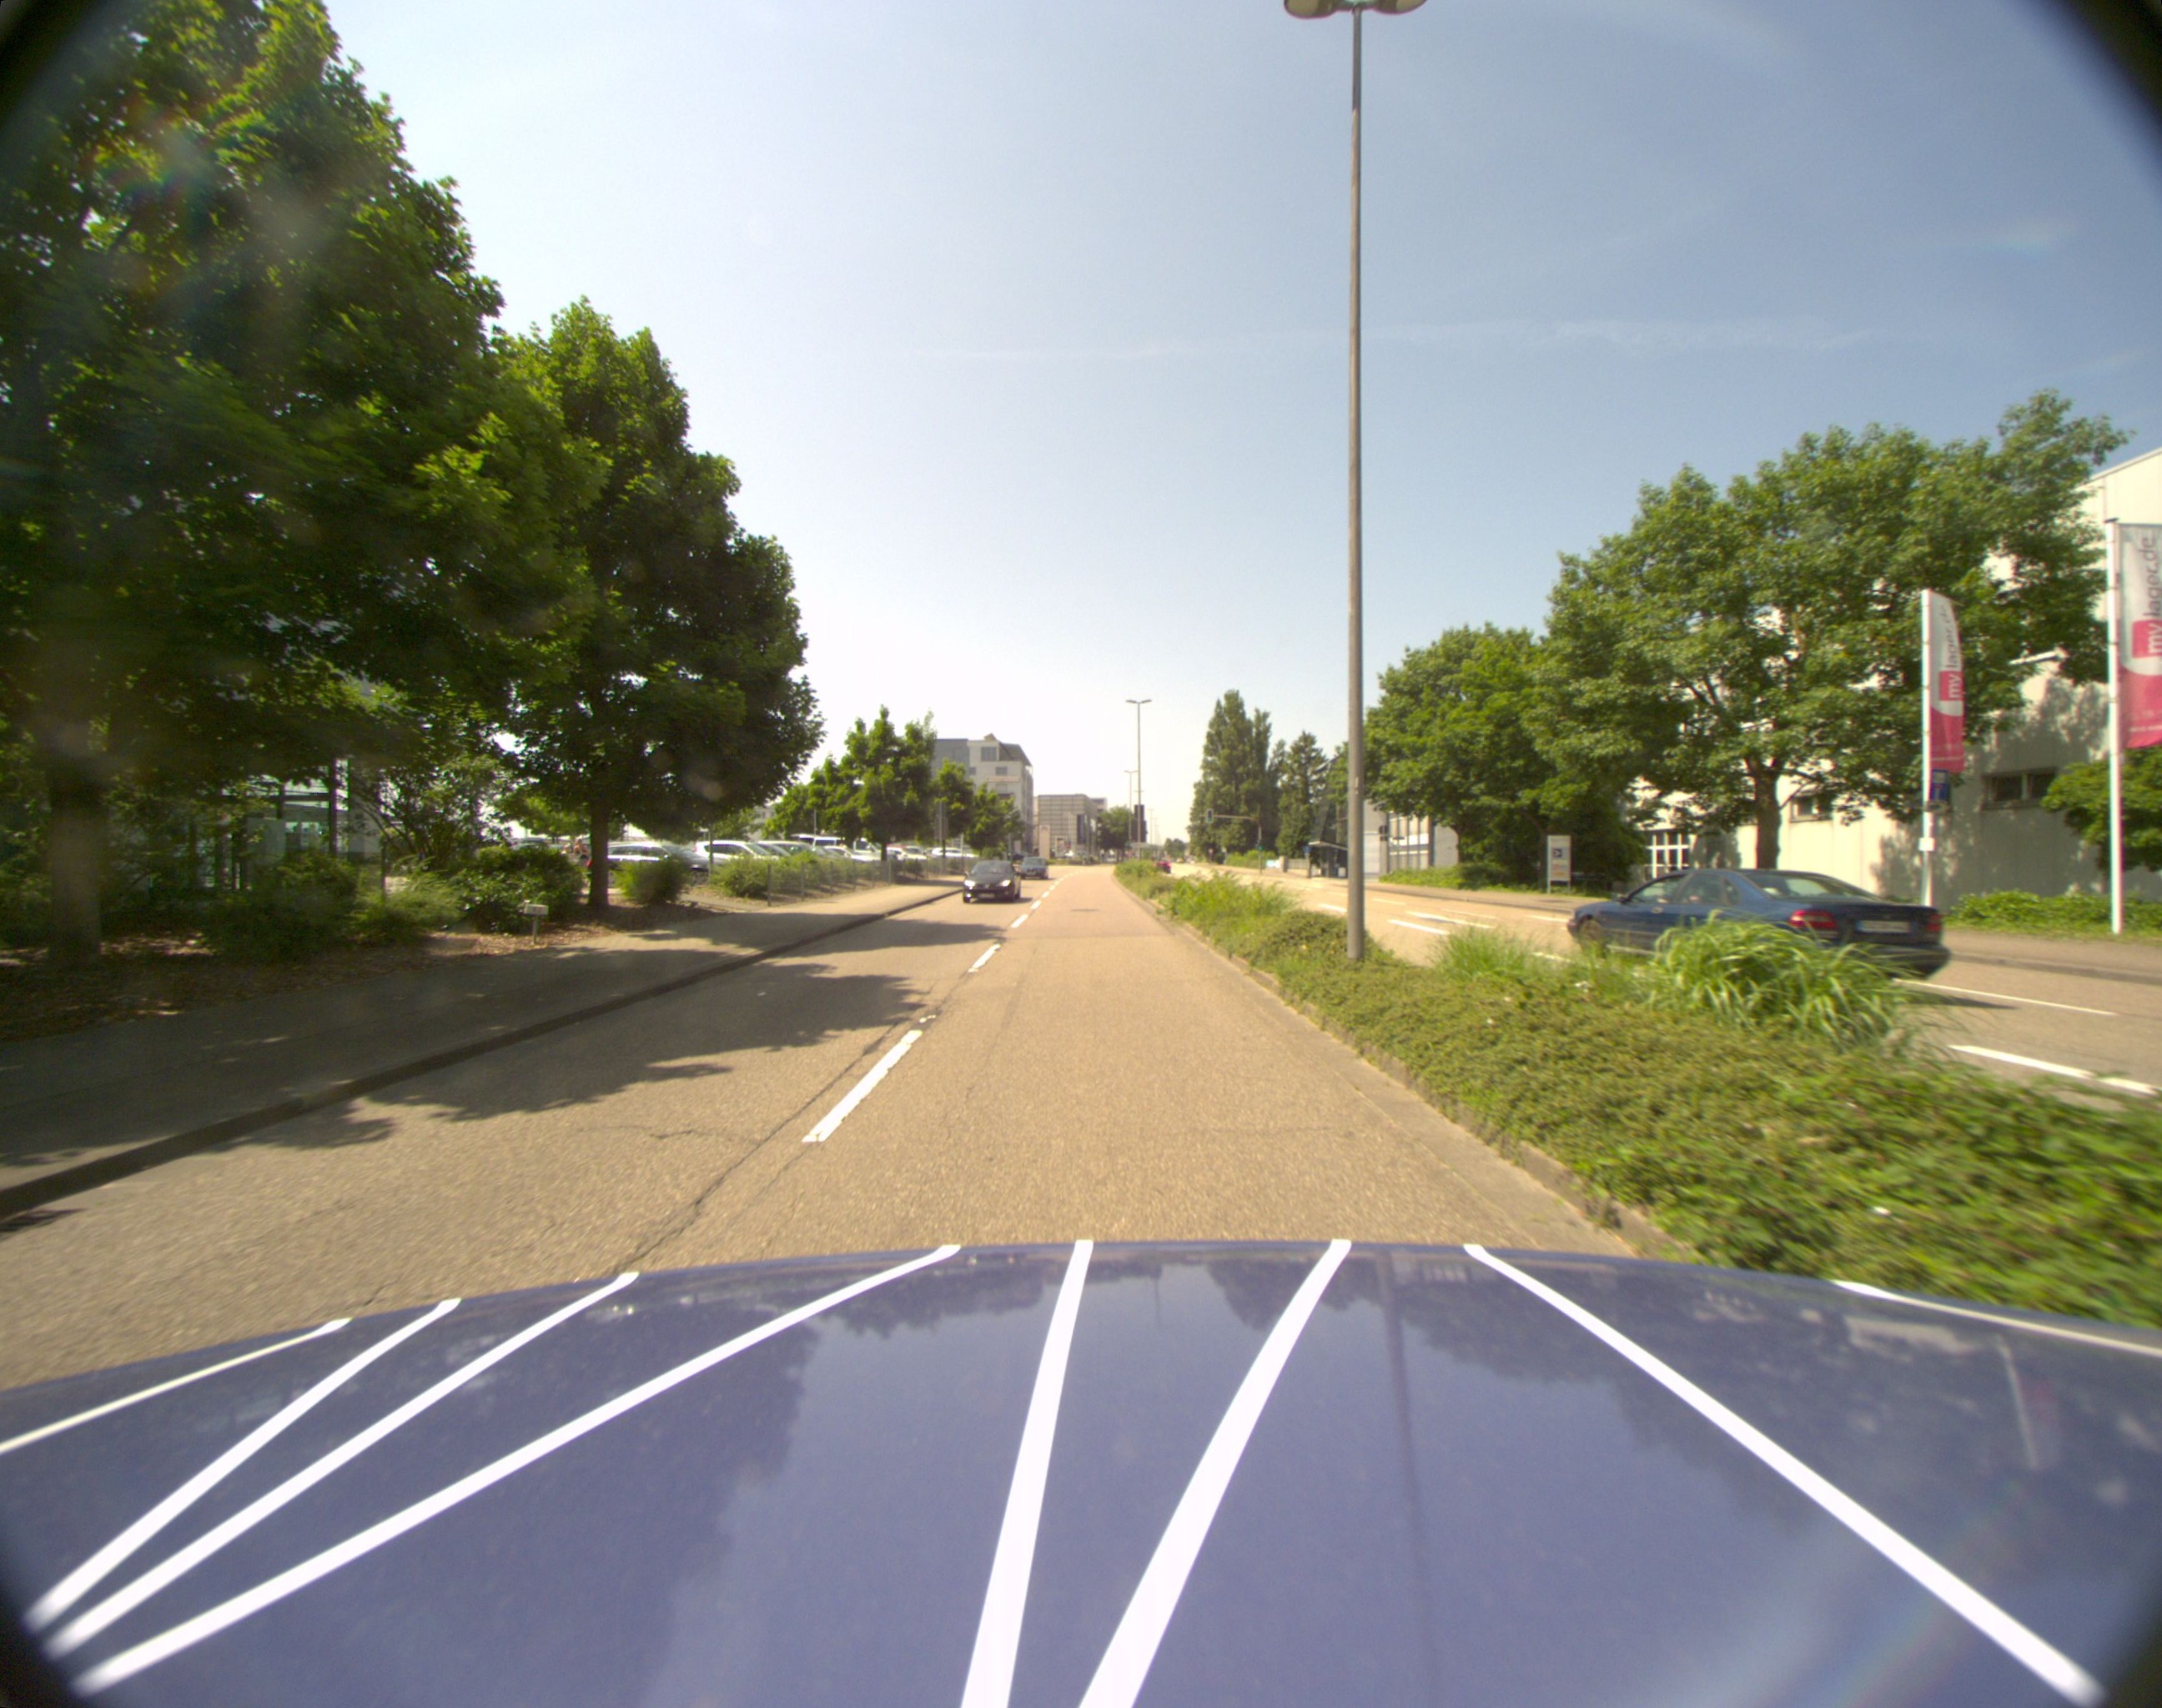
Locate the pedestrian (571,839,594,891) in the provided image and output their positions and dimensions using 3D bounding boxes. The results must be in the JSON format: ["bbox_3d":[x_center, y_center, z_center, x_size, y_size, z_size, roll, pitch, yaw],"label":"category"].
[{"bbox_3d":[-16.097,0.352,24.549,0.448,1.663,0.416,1,1,-2],"label":"pedestrian"}]

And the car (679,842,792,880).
[{"bbox_3d":[-14.741,0.277,32.602,3.998,1.525,1.826,0,2,-3],"label":"car"}]

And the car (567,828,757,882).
[{"bbox_3d":[-13.399,0.012,24.524,5.003,1.587,2.022,1,1,0],"label":"car"}]

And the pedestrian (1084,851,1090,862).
[{"bbox_3d":[0.931,0.385,120.092,0.830,1.616,1.005,-1,2,8],"label":"pedestrian"}]

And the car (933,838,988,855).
[{"bbox_3d":[-10.698,-0.665,67.553,4.587,1.496,1.698,0,1,1],"label":"car"}]

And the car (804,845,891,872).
[{"bbox_3d":[-12.249,0.241,40.040,3.996,1.381,1.827,0,1,2],"label":"car"}]

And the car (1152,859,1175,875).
[{"bbox_3d":[7.489,1.179,68.994,1.733,1.316,4.149,1,1,1],"label":"car"}]

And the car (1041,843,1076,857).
[{"bbox_3d":[-3.250,-0.607,110.798,4.704,1.787,2.184,-3,0,6],"label":"car"}]

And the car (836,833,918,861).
[{"bbox_3d":[-12.210,-0.419,45.623,4.377,1.583,1.827,0,1,2],"label":"car"}]

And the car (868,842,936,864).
[{"bbox_3d":[-11.771,-0.073,50.113,4.005,1.413,1.698,0,1,2],"label":"car"}]

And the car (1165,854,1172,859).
[{"bbox_3d":[26.875,0.722,232.608,1.763,1.410,4.093,1,0,3],"label":"car"}]

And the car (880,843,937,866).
[{"bbox_3d":[-12.099,0.025,53.351,3.598,1.528,1.723,0,1,0],"label":"car"}]

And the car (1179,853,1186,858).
[{"bbox_3d":[30.302,0.412,226.850,1.898,1.551,4.287,1,1,4],"label":"car"}]

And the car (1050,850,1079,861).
[{"bbox_3d":[-2.592,0.178,122.313,4.473,1.600,2.097,-1,1,3],"label":"car"}]

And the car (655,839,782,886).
[{"bbox_3d":[-14.013,0.314,29.524,3.997,1.587,1.826,-2,1,-2],"label":"car"}]

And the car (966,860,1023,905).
[{"bbox_3d":[-2.873,0.912,25.802,1.641,1.349,3.498,-1,1,-2],"label":"car"}]

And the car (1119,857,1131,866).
[{"bbox_3d":[7.089,1.196,121.350,1.867,1.390,4.001,0,0,3],"label":"car"}]

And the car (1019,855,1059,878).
[{"bbox_3d":[-2.566,0.750,47.075,1.710,1.316,3.958,0,1,9],"label":"car"}]

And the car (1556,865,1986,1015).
[{"bbox_3d":[8.379,0.912,9.890,1.726,1.408,4.246,2,0,1],"label":"car"}]

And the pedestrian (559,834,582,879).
[{"bbox_3d":[-16.155,0.065,24.047,0.448,1.405,0.416,1,1,-2],"label":"pedestrian"}]

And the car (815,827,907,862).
[{"bbox_3d":[-12.393,-0.520,42.977,4.627,1.913,1.827,0,1,2],"label":"car"}]

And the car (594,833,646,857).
[{"bbox_3d":[-27.975,-0.549,46.175,1.268,1.412,2.957,1,1,1],"label":"car"}]

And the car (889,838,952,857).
[{"bbox_3d":[-11.829,-0.471,56.095,4.179,1.413,1.698,0,1,4],"label":"car"}]

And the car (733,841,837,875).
[{"bbox_3d":[-13.525,0.163,34.823,3.996,1.525,1.827,0,2,2],"label":"car"}]

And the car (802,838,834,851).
[{"bbox_3d":[-30.709,-1.129,88.789,1.998,1.378,4.142,-1,1,4],"label":"car"}]
